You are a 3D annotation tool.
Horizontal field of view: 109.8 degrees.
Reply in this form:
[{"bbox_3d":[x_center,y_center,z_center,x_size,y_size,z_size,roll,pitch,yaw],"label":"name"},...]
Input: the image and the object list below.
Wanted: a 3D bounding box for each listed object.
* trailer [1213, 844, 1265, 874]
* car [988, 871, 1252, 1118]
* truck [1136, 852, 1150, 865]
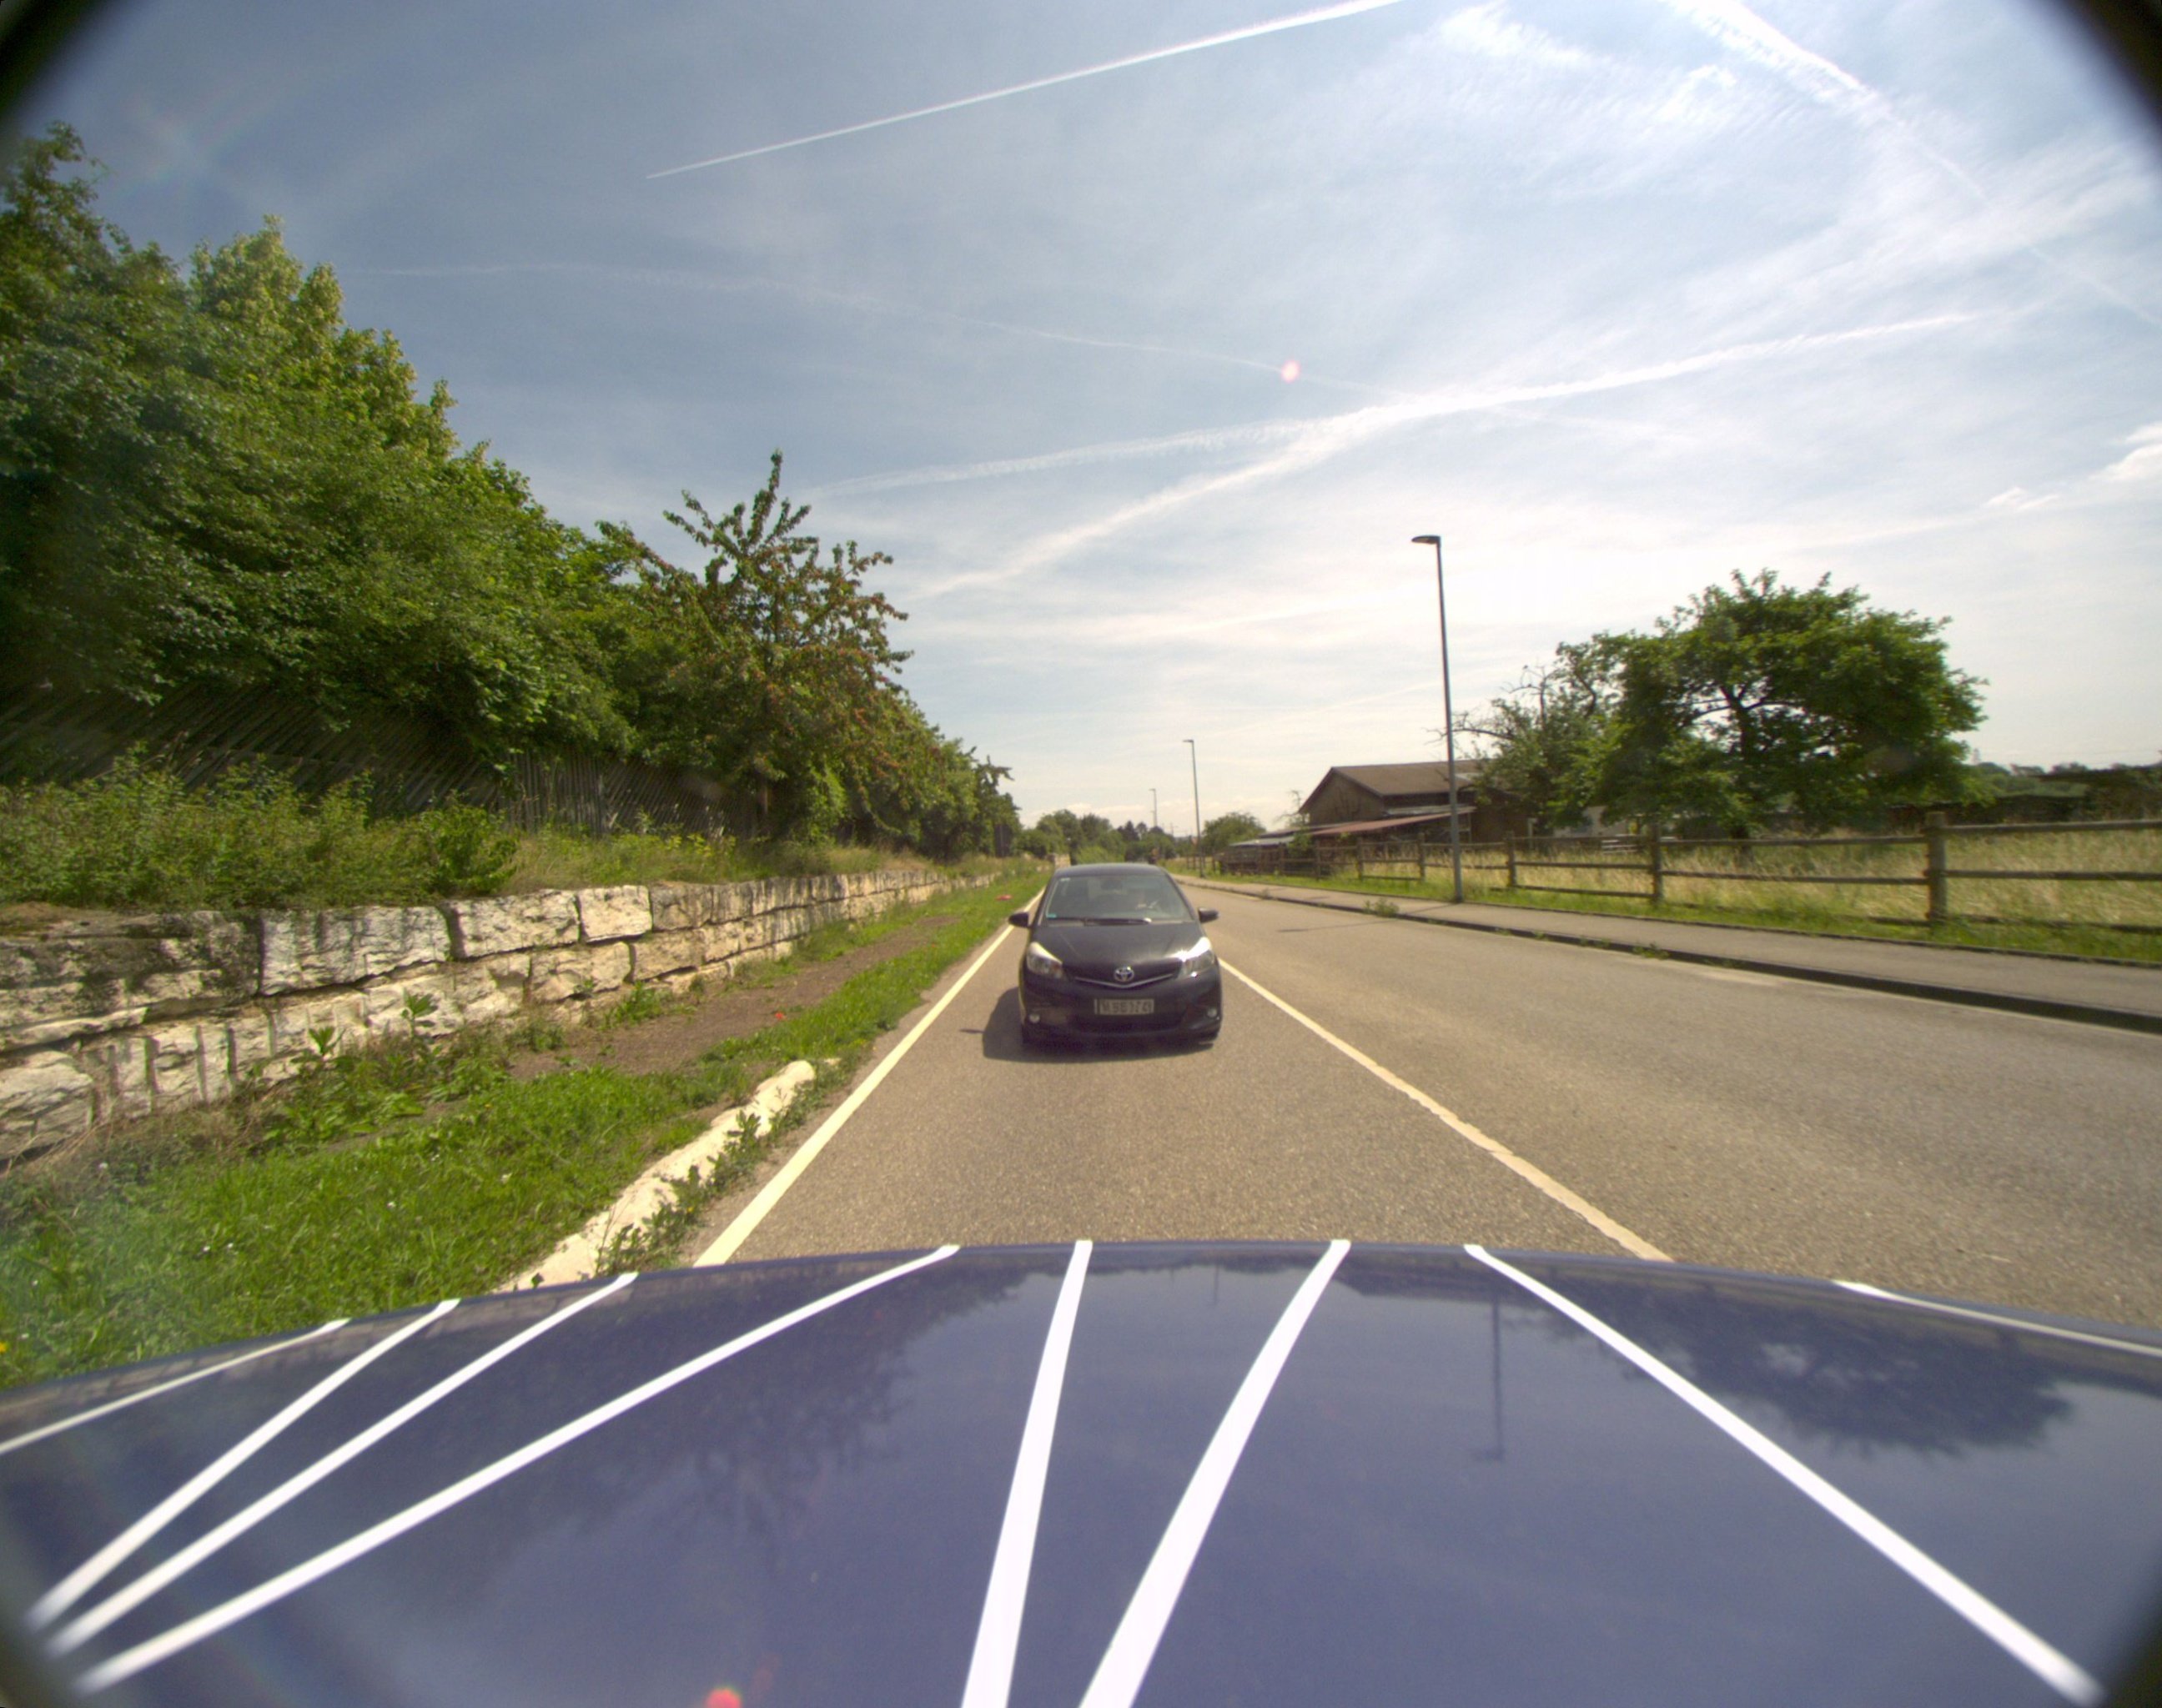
[{"bbox_3d":[9.685,0.296,46.952,2.160,1.693,5.029,-2,0,0],"label":"trailer"},{"bbox_3d":[0.269,0.964,7.144,1.677,1.456,4.432,-1,0,0],"label":"car"},{"bbox_3d":[11.043,0.750,135.233,2.227,2.280,6.494,-2,0,6],"label":"truck"}]
